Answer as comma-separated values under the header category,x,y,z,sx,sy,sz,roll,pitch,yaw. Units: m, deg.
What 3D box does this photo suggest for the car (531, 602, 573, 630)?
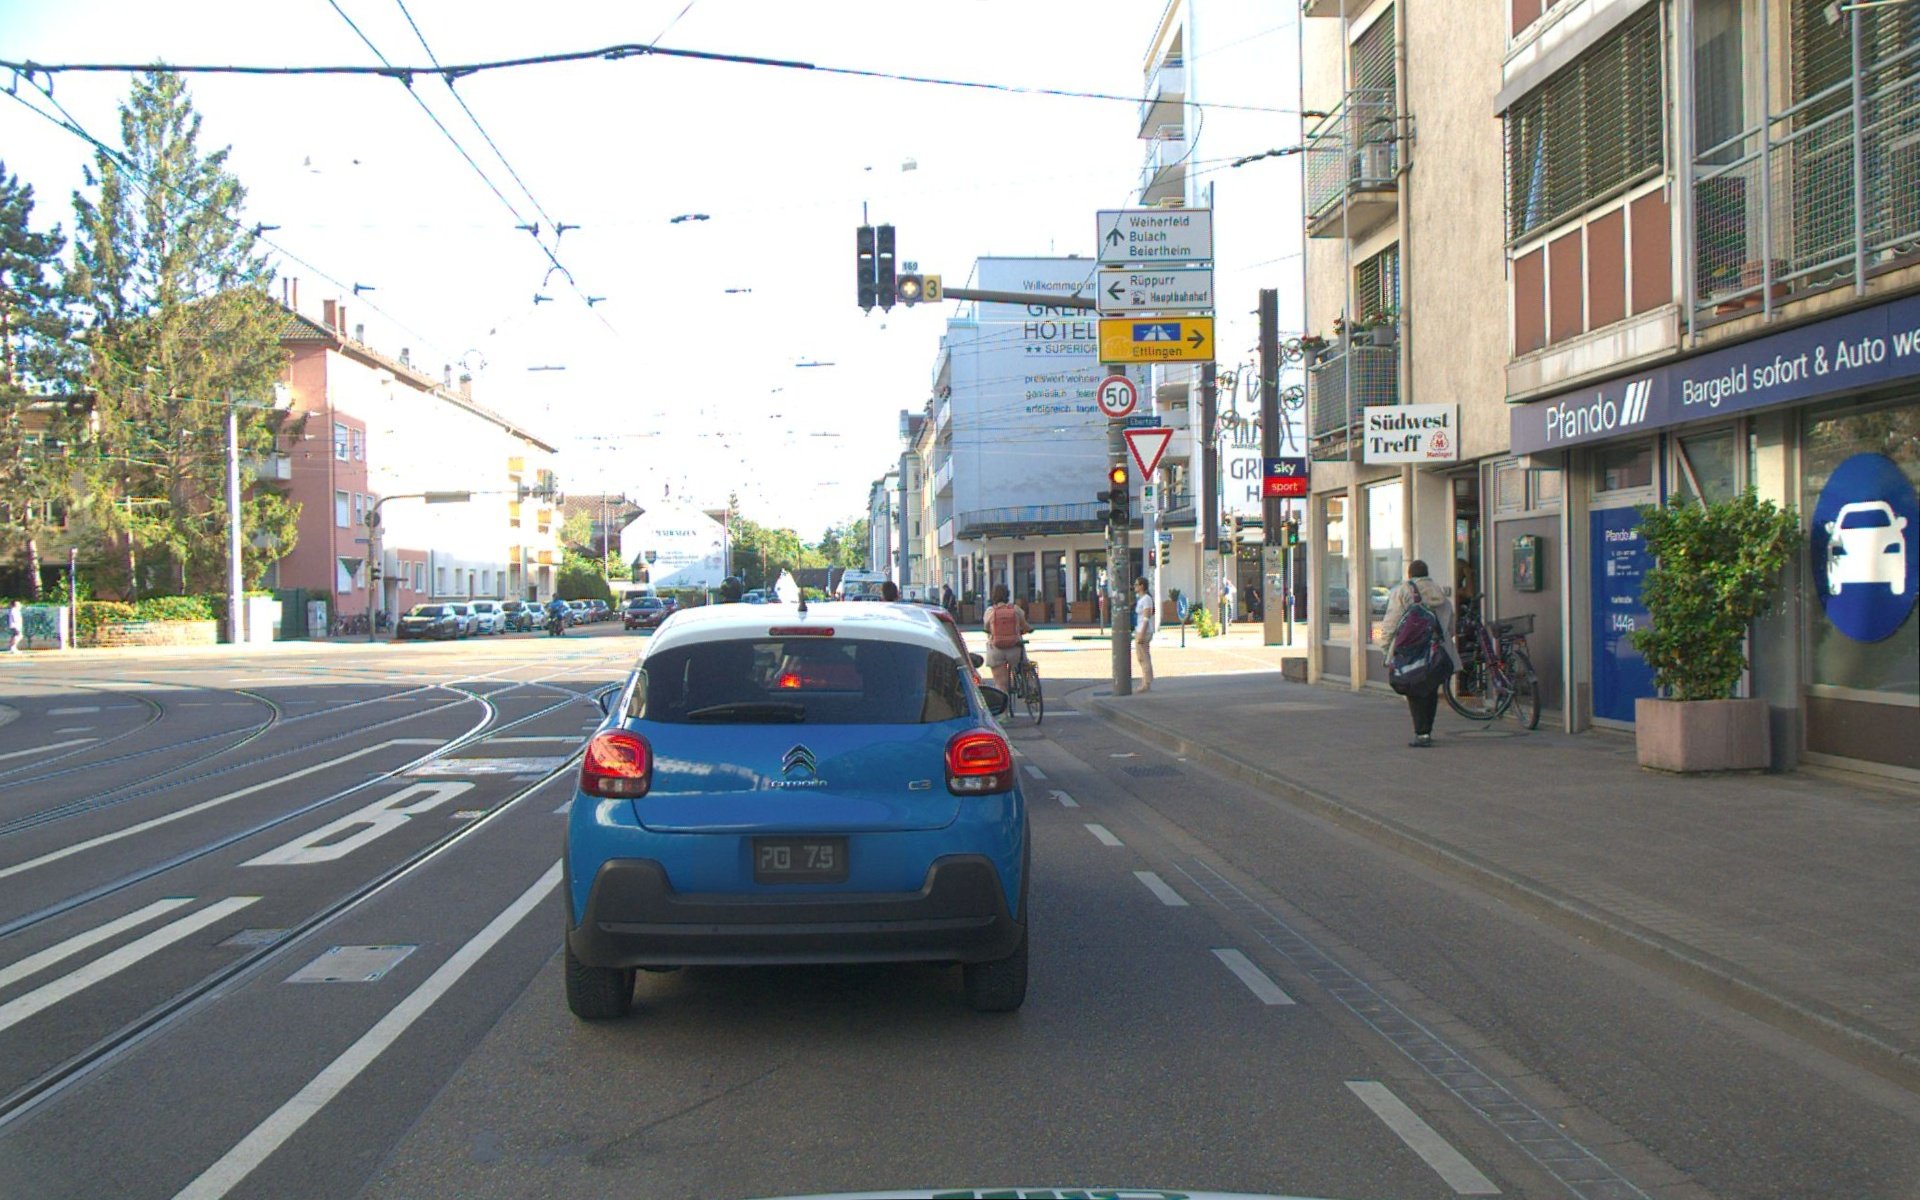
category,x,y,z,sx,sy,sz,roll,pitch,yaw
car,-24.077,0.914,97.740,1.833,1.604,3.995,1,0,-6

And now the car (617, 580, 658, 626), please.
category,x,y,z,sx,sy,sz,roll,pitch,yaw
car,-23.121,0.242,118.746,2.370,3.197,3.486,1,0,-4

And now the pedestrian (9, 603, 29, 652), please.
category,x,y,z,sx,sy,sz,roll,pitch,yaw
pedestrian,-30.778,0.892,54.102,0.510,1.596,0.568,1,-1,-28

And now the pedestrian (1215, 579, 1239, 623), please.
category,x,y,z,sx,sy,sz,roll,pitch,yaw
pedestrian,9.869,0.033,61.191,0.601,1.636,0.665,0,-1,41

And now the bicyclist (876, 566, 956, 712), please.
category,x,y,z,sx,sy,sz,roll,pitch,yaw
bicyclist,-0.533,0.461,19.967,0.921,1.702,1.079,1,0,-2

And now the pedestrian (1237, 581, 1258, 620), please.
category,x,y,z,sx,sy,sz,roll,pitch,yaw
pedestrian,10.982,0.004,63.107,0.595,1.469,0.553,1,-1,35

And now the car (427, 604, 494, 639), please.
category,x,y,z,sx,sy,sz,roll,pitch,yaw
car,-22.287,0.946,73.941,1.865,1.462,4.100,1,0,-3

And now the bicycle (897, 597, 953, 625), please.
category,x,y,z,sx,sy,sz,roll,pitch,yaw
bicycle,-1.432,0.443,67.133,2.208,1.019,0.855,-2,0,-6

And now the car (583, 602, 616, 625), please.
category,x,y,z,sx,sy,sz,roll,pitch,yaw
car,-25.812,0.971,118.583,1.833,1.604,3.995,1,0,-6

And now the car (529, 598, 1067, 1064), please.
category,x,y,z,sx,sy,sz,roll,pitch,yaw
car,-0.411,0.736,7.139,1.700,1.478,3.664,0,0,4

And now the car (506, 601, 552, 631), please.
category,x,y,z,sx,sy,sz,roll,pitch,yaw
car,-23.849,0.893,91.683,1.833,1.604,3.995,1,0,-6

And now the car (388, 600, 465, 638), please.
category,x,y,z,sx,sy,sz,roll,pitch,yaw
car,-22.098,0.820,68.695,2.112,1.457,4.435,1,-2,-5

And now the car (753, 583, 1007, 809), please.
category,x,y,z,sx,sy,sz,roll,pitch,yaw
car,-0.729,0.659,13.444,1.750,1.548,3.758,1,1,-5

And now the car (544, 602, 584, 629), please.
category,x,y,z,sx,sy,sz,roll,pitch,yaw
car,-24.474,0.927,102.349,1.833,1.604,3.995,1,0,-6

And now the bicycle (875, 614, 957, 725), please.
category,x,y,z,sx,sy,sz,roll,pitch,yaw
bicycle,-0.541,0.805,20.016,0.921,1.245,2.094,1,0,-2

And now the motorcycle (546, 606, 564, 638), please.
category,x,y,z,sx,sy,sz,roll,pitch,yaw
motorcycle,-16.330,0.891,66.703,0.700,1.241,1.958,-1,-2,-14

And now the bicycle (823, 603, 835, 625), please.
category,x,y,z,sx,sy,sz,roll,pitch,yaw
bicycle,-10.291,1.134,129.893,0.774,1.699,2.230,1,0,1

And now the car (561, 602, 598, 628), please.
category,x,y,z,sx,sy,sz,roll,pitch,yaw
car,-24.689,0.944,107.496,1.833,1.604,3.995,1,0,-6

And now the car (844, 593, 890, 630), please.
category,x,y,z,sx,sy,sz,roll,pitch,yaw
car,-3.841,0.472,67.755,1.626,1.456,3.882,1,0,-7

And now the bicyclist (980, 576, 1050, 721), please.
category,x,y,z,sx,sy,sz,roll,pitch,yaw
bicyclist,0.684,0.584,20.299,0.794,1.721,0.935,1,0,4

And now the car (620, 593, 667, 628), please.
category,x,y,z,sx,sy,sz,roll,pitch,yaw
car,-14.539,0.477,76.193,1.744,1.512,3.824,-1,0,-5

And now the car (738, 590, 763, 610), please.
category,x,y,z,sx,sy,sz,roll,pitch,yaw
car,-21.570,0.039,170.630,2.174,1.965,4.945,1,0,-4

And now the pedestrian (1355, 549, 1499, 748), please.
category,x,y,z,sx,sy,sz,roll,pitch,yaw
pedestrian,4.017,0.398,14.272,0.868,1.619,0.809,-3,1,-9

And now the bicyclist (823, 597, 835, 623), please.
category,x,y,z,sx,sy,sz,roll,pitch,yaw
bicyclist,-10.286,0.773,129.901,0.774,2.060,0.986,1,-1,0

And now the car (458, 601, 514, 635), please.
category,x,y,z,sx,sy,sz,roll,pitch,yaw
car,-22.621,0.860,79.023,1.707,1.553,4.226,1,0,-4

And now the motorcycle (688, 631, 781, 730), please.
category,x,y,z,sx,sy,sz,roll,pitch,yaw
motorcycle,-2.633,0.918,19.519,0.837,1.065,1.942,1,0,-1

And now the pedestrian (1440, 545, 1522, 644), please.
category,x,y,z,sx,sy,sz,roll,pitch,yaw
pedestrian,6.052,-0.068,19.221,0.618,1.106,0.670,-2,1,-38

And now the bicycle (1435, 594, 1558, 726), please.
category,x,y,z,sx,sy,sz,roll,pitch,yaw
bicycle,5.098,0.546,15.817,0.486,1.182,1.776,-1,0,-4

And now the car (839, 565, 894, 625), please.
category,x,y,z,sx,sy,sz,roll,pitch,yaw
car,-4.144,-0.209,72.746,2.221,2.525,5.002,0,0,-5

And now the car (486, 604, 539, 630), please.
category,x,y,z,sx,sy,sz,roll,pitch,yaw
car,-23.136,0.872,85.663,1.909,1.261,4.278,1,0,-5

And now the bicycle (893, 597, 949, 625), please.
category,x,y,z,sx,sy,sz,roll,pitch,yaw
bicycle,-1.613,0.450,68.243,2.208,1.019,0.855,-2,0,-6

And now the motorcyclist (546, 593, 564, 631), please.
category,x,y,z,sx,sy,sz,roll,pitch,yaw
motorcyclist,-16.363,0.501,66.816,0.681,1.523,0.682,-1,-2,-14

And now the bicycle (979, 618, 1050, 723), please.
category,x,y,z,sx,sy,sz,roll,pitch,yaw
bicycle,0.694,0.843,20.522,0.794,1.202,2.065,1,0,4

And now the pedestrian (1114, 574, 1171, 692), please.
category,x,y,z,sx,sy,sz,roll,pitch,yaw
pedestrian,2.677,0.478,24.195,0.528,1.652,0.733,-5,-2,21

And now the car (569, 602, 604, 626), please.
category,x,y,z,sx,sy,sz,roll,pitch,yaw
car,-25.317,0.953,112.259,1.833,1.604,3.995,1,0,-6

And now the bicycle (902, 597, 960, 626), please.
category,x,y,z,sx,sy,sz,roll,pitch,yaw
bicycle,-1.143,0.452,65.770,2.208,1.019,0.855,-2,0,-6

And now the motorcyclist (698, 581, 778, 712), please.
category,x,y,z,sx,sy,sz,roll,pitch,yaw
motorcyclist,-2.633,0.550,19.674,0.837,1.514,0.729,1,-1,-1

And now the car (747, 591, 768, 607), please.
category,x,y,z,sx,sy,sz,roll,pitch,yaw
car,-22.942,-0.113,187.466,2.033,1.793,5.032,1,0,-4
